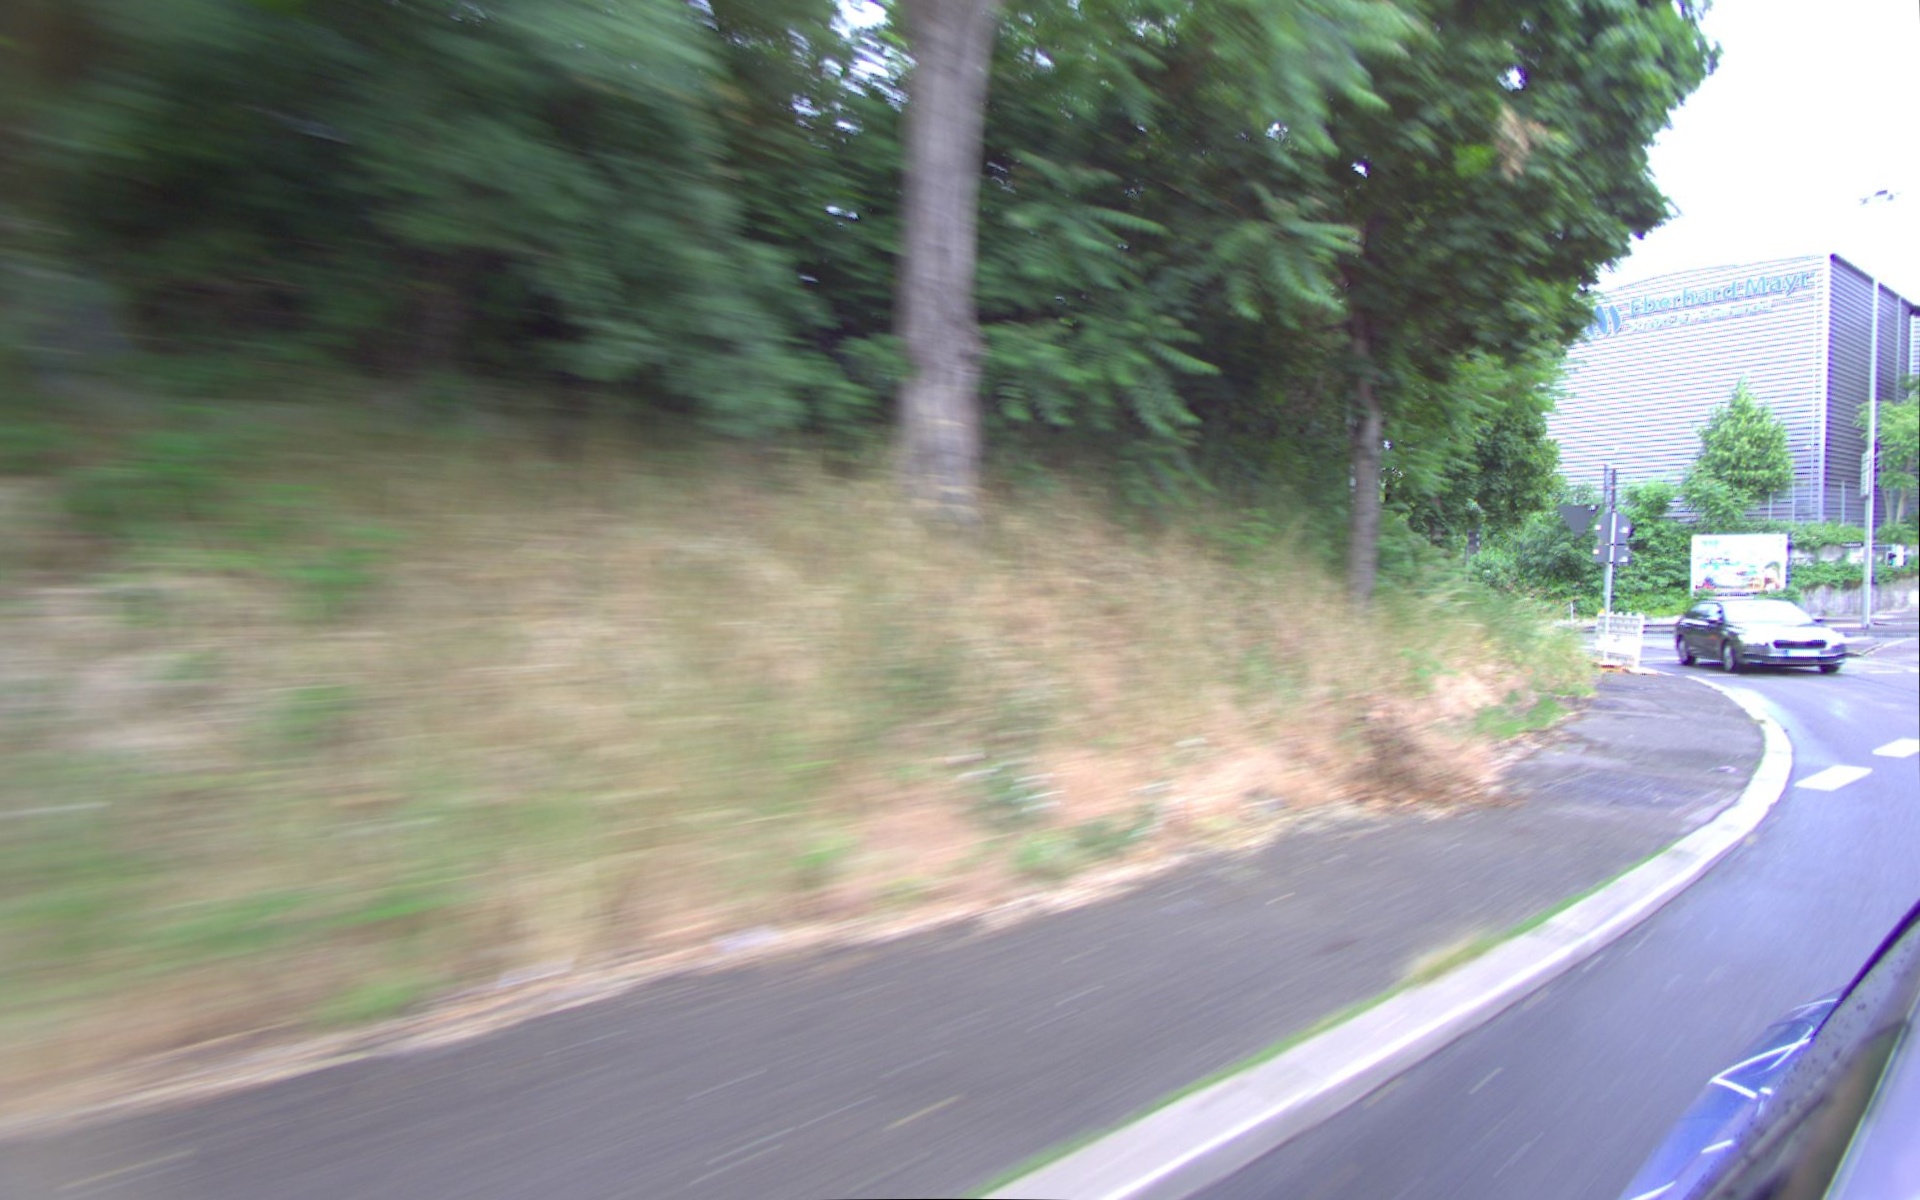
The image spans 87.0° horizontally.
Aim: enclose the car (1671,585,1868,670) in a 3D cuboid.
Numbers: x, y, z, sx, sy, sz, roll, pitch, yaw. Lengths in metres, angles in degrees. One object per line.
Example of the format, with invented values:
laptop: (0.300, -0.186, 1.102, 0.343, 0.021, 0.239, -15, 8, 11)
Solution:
car: (16.345, 0.537, 20.704, 1.788, 1.537, 4.027, -1, -1, 18)
